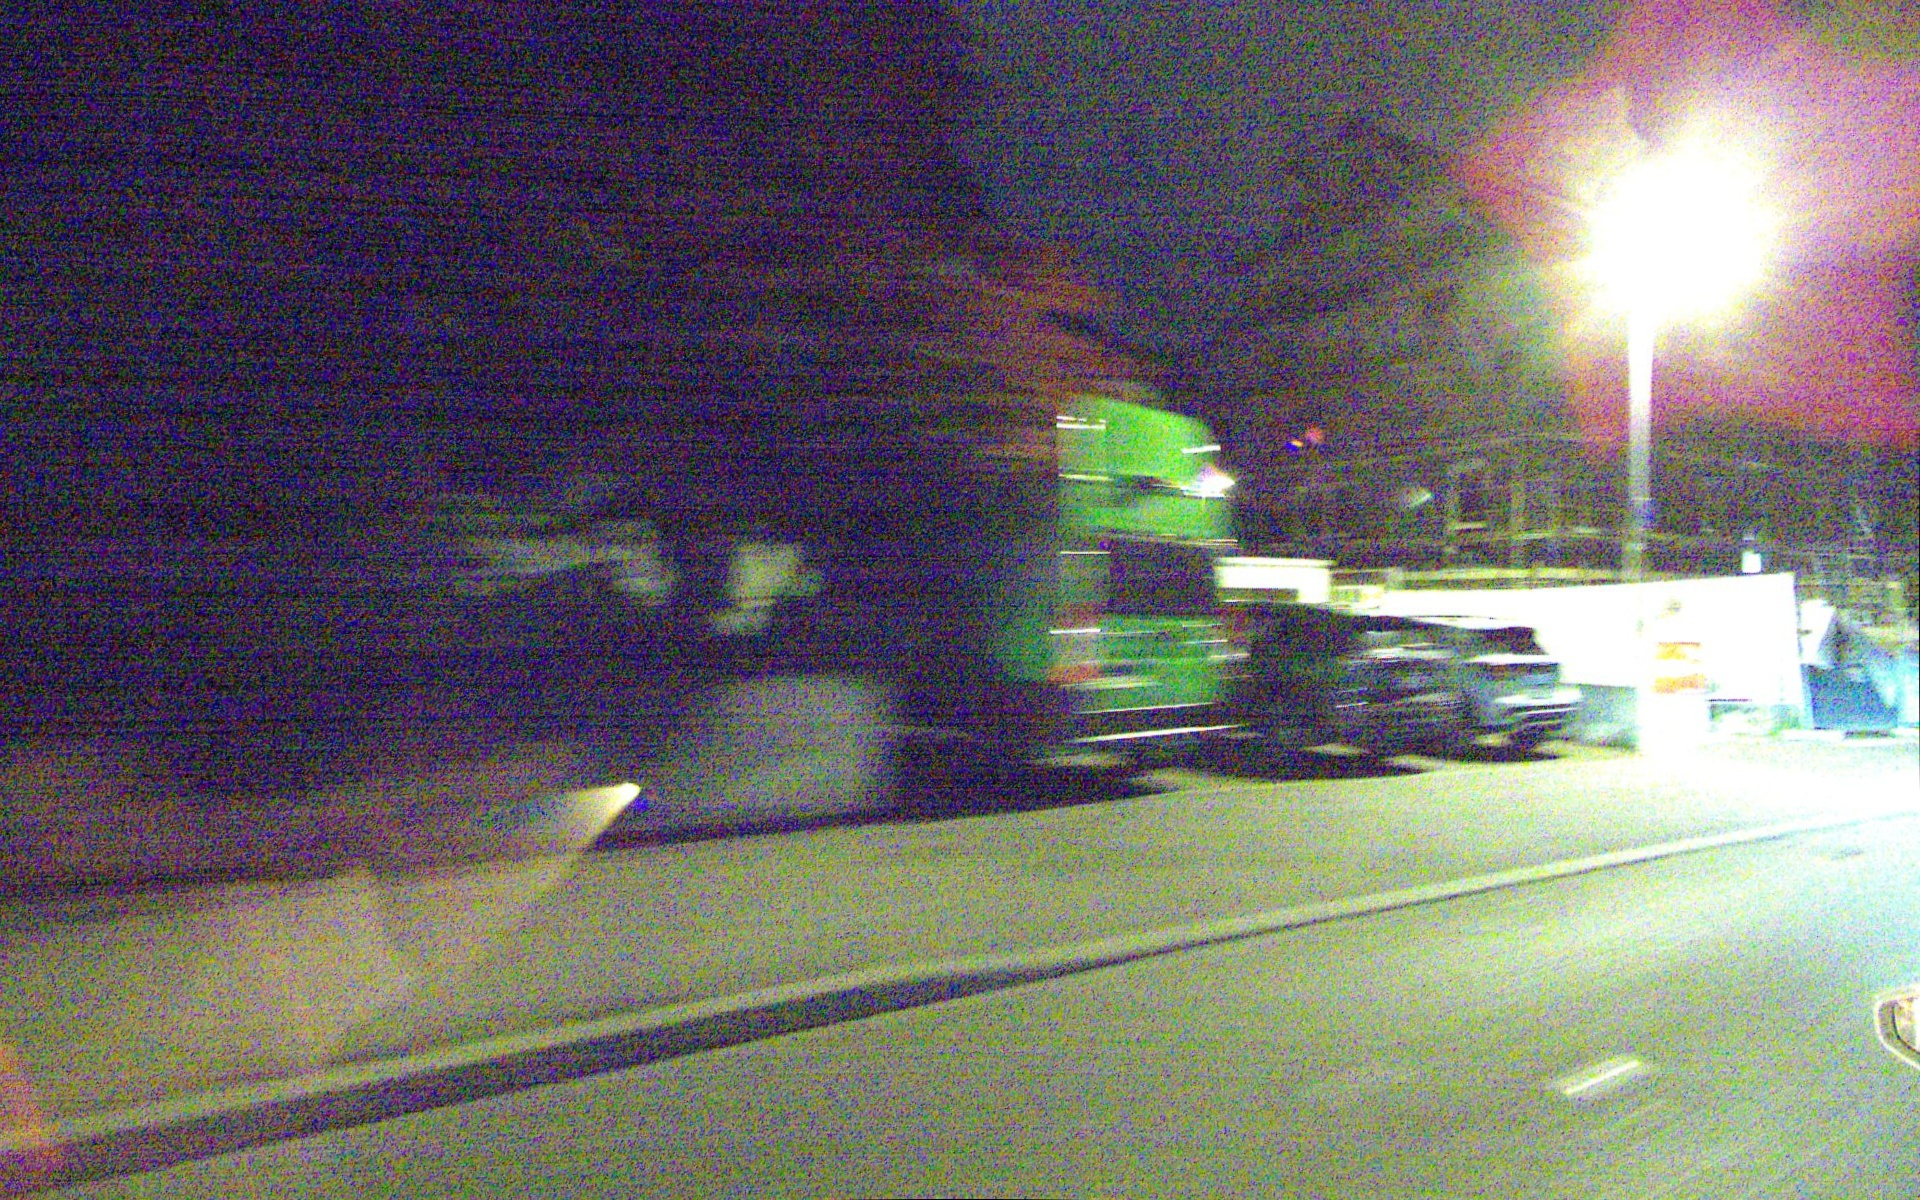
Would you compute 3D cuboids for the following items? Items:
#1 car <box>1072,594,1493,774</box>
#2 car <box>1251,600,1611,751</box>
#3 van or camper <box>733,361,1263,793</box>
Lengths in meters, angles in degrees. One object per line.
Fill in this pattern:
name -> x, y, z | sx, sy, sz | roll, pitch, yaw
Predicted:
car -> 3.409, 0.802, 11.554 | 2.040, 1.634, 4.398 | 3, -1, -29
car -> 5.846, 0.829, 12.921 | 1.904, 1.576, 3.792 | 1, 0, -30
van or camper -> 0.020, -0.167, 10.070 | 2.115, 3.151, 5.354 | 6, -2, -39
